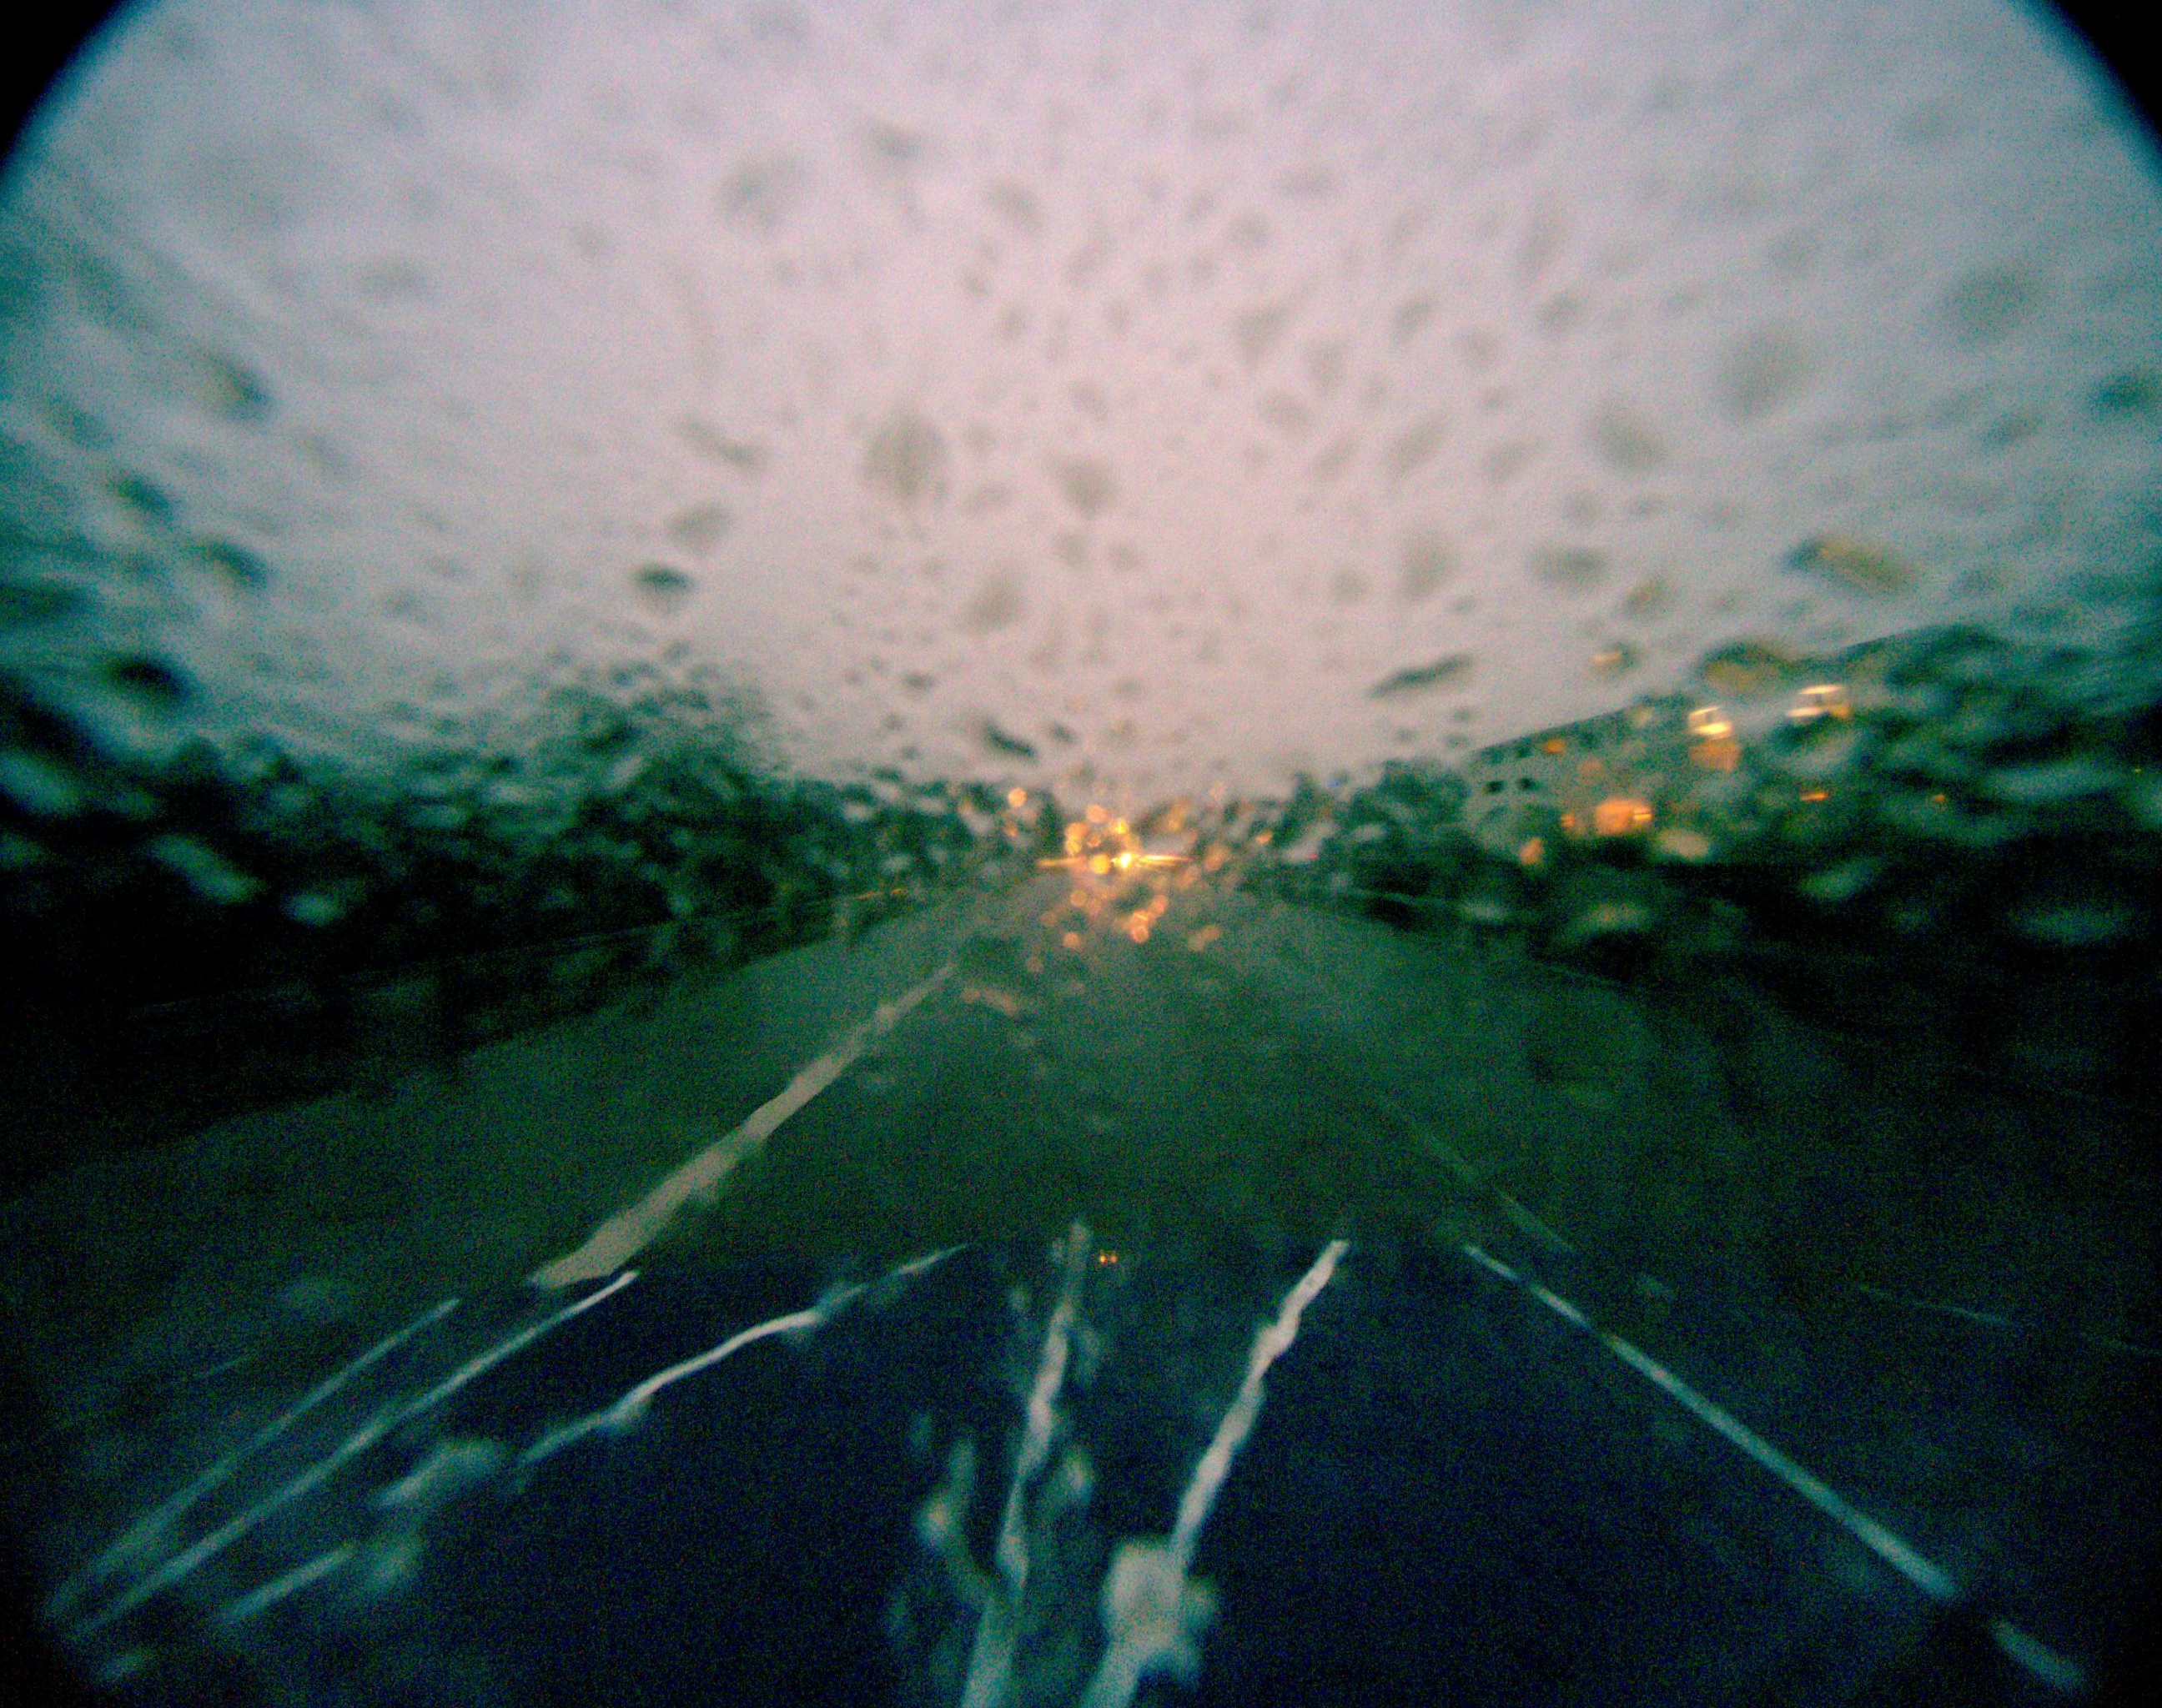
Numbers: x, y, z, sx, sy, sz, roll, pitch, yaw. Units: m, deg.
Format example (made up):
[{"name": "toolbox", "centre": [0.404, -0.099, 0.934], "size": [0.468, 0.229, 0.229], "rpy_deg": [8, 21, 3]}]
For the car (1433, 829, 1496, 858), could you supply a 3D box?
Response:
[{"name": "car", "centre": [29.456, -0.790, 58.552], "size": [2.160, 2.002, 4.960], "rpy_deg": [-3, 0, -1]}]

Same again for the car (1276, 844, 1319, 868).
[{"name": "car", "centre": [14.703, 0.123, 51.798], "size": [1.741, 1.499, 4.000], "rpy_deg": [-3, 1, 1]}]

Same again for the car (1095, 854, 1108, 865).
[{"name": "car", "centre": [2.885, 0.696, 104.504], "size": [1.683, 1.401, 3.775], "rpy_deg": [-4, 0, 2]}]

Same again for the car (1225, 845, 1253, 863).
[{"name": "car", "centre": [14.576, 0.012, 70.158], "size": [1.741, 1.499, 4.000], "rpy_deg": [-3, 1, 1]}]

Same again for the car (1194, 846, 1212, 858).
[{"name": "car", "centre": [16.336, -0.275, 102.087], "size": [1.741, 1.499, 4.000], "rpy_deg": [-3, 1, 1]}]

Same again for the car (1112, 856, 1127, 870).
[{"name": "car", "centre": [6.325, 1.439, 124.569], "size": [1.999, 2.002, 3.999], "rpy_deg": [-5, 0, -2]}]

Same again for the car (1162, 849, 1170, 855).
[{"name": "car", "centre": [25.053, -0.567, 224.640], "size": [1.998, 1.563, 4.000], "rpy_deg": [-3, 1, 2]}]
